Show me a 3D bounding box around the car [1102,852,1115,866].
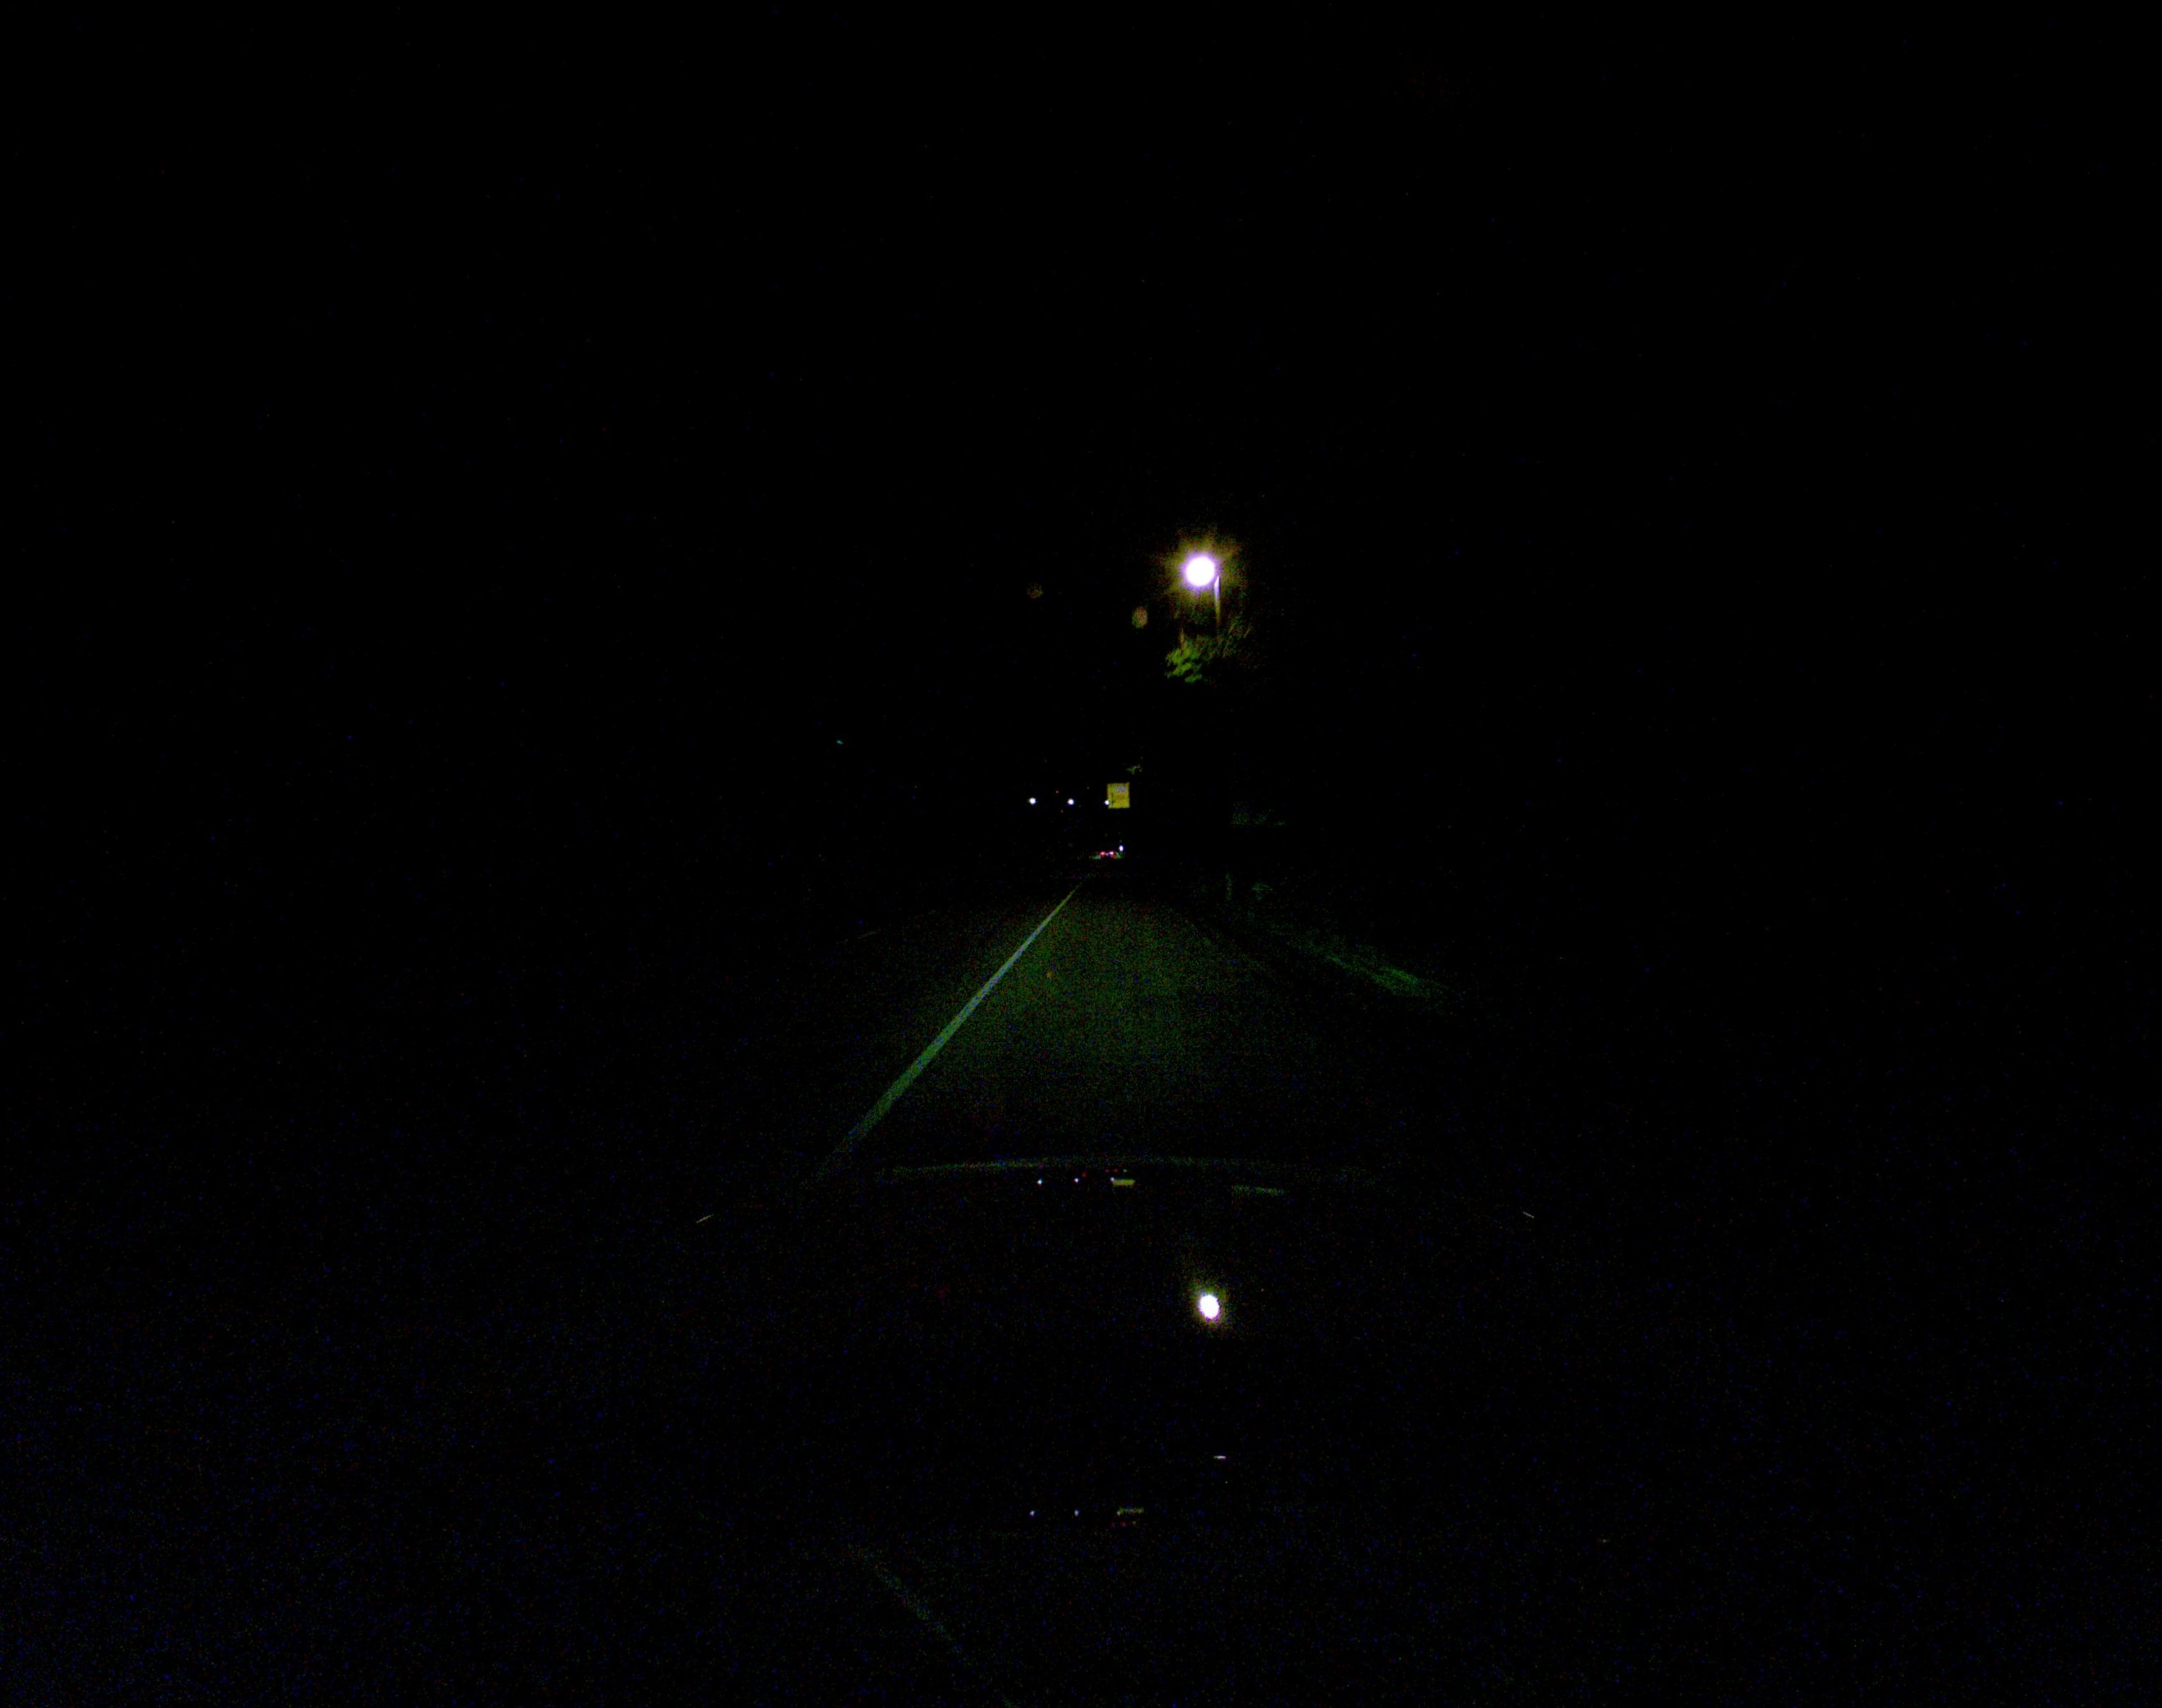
[{"bbox_3d":[3.993,0.706,119.014,1.911,2.014,4.124,0,0,2],"label":"car"}]
